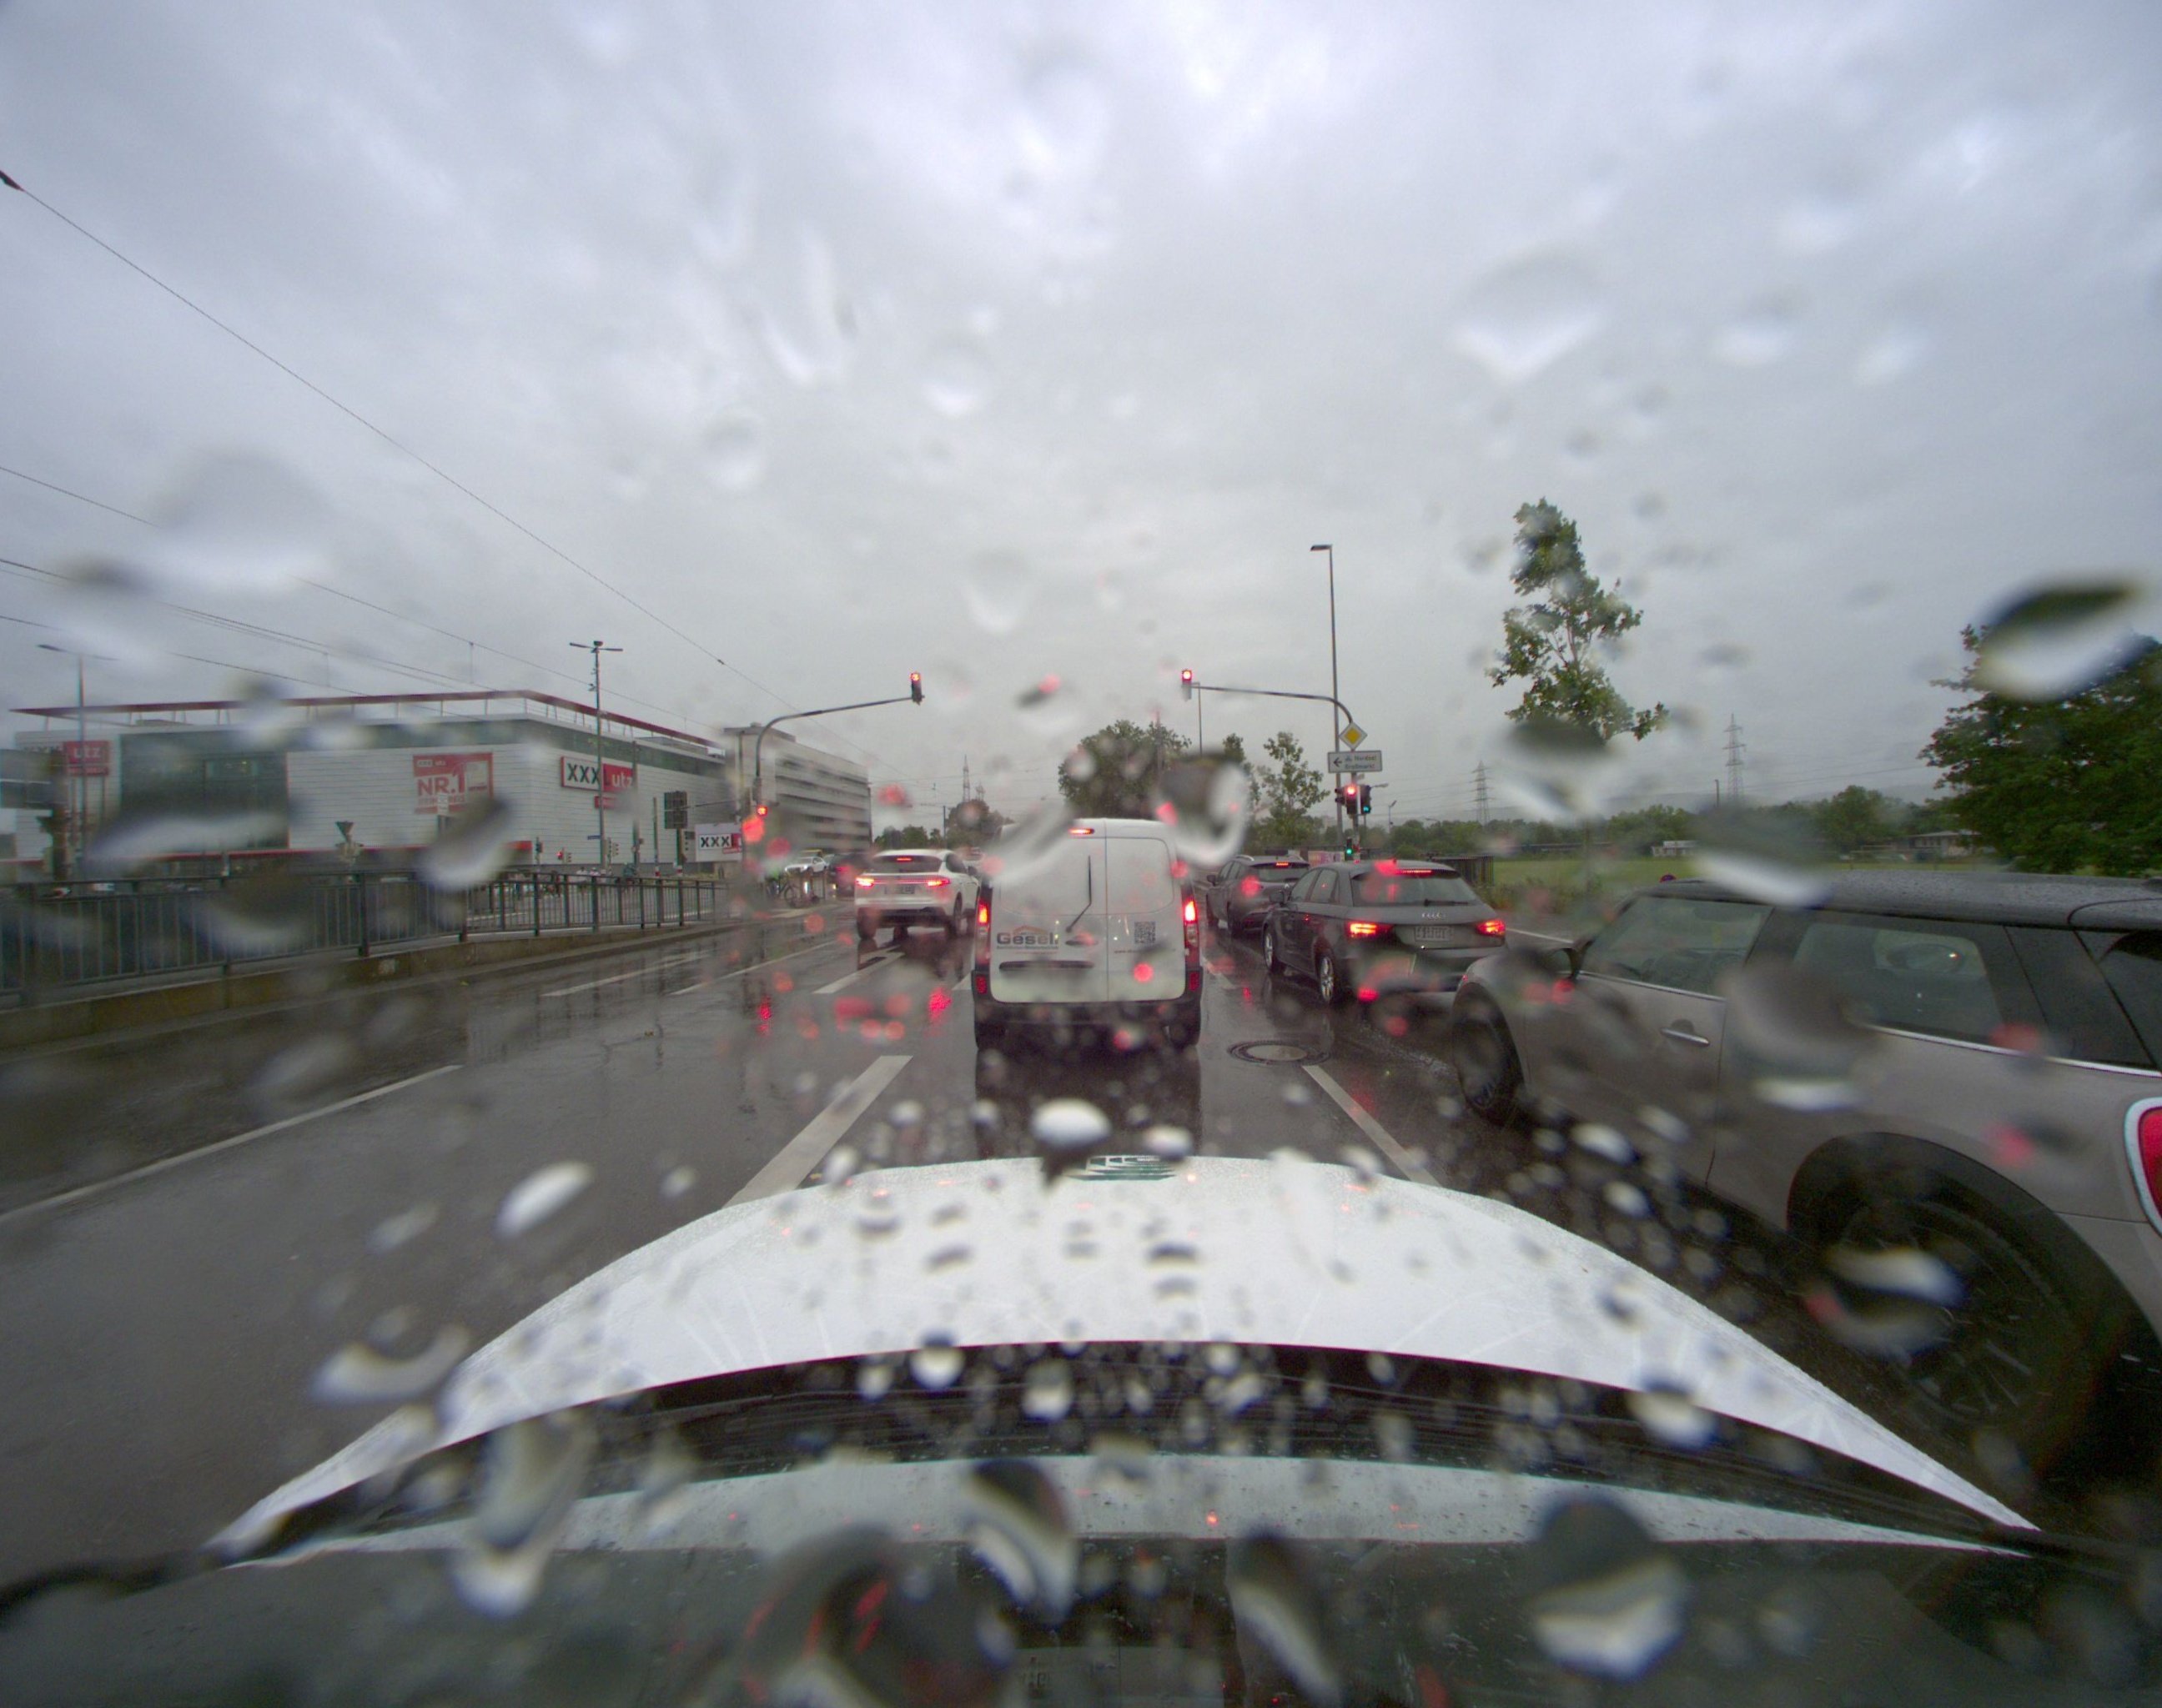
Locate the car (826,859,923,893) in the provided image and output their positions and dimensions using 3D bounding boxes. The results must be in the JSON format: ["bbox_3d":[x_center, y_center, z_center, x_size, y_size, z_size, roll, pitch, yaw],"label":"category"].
[{"bbox_3d":[-9.065,0.937,35.804,3.882,1.422,1.494,0,-1,-34],"label":"car"}]

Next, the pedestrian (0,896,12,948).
[{"bbox_3d":[-32.424,2.032,24.048,0.561,1.537,0.872,0,-1,1],"label":"pedestrian"}]

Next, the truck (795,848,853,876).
[{"bbox_3d":[-22.362,0.678,71.339,2.342,2.279,7.637,0,0,2],"label":"truck"}]

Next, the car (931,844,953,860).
[{"bbox_3d":[-17.850,-0.204,104.772,1.985,2.014,4.003,0,-1,3],"label":"car"}]

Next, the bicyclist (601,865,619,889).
[{"bbox_3d":[-28.682,1.407,49.621,0.681,1.464,0.647,0,-1,3],"label":"bicyclist"}]

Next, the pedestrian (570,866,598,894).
[{"bbox_3d":[-29.523,1.522,48.381,1.013,1.632,1.092,-1,-1,38],"label":"pedestrian"}]

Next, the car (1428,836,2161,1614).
[{"bbox_3d":[2.966,0.712,3.199,1.707,1.508,3.624,0,0,1],"label":"car"}]

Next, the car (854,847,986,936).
[{"bbox_3d":[-3.060,0.644,16.337,1.723,1.535,4.298,0,0,1],"label":"car"}]

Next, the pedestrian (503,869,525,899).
[{"bbox_3d":[-31.414,1.634,45.130,0.701,1.632,0.918,0,-1,-10],"label":"pedestrian"}]

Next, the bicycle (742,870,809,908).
[{"bbox_3d":[-8.924,1.023,23.797,1.745,1.034,0.414,2,-1,0],"label":"bicycle"}]

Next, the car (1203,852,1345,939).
[{"bbox_3d":[3.520,0.696,15.556,1.853,1.428,3.808,0,0,1],"label":"car"}]

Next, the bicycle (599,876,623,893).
[{"bbox_3d":[-28.676,1.870,49.686,0.448,0.987,1.709,0,-1,2],"label":"bicycle"}]

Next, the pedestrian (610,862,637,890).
[{"bbox_3d":[-26.631,1.273,47.432,0.912,1.632,1.015,-1,-1,12],"label":"pedestrian"}]

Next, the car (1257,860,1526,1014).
[{"bbox_3d":[3.117,0.741,8.968,1.623,1.344,3.624,0,0,1],"label":"car"}]

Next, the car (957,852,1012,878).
[{"bbox_3d":[-5.775,0.662,49.210,1.600,1.503,3.736,-1,-1,24],"label":"car"}]

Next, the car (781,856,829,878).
[{"bbox_3d":[-19.515,0.925,57.752,1.689,1.492,3.884,-1,-1,7],"label":"car"}]

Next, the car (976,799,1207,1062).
[{"bbox_3d":[0.136,0.538,7.603,1.560,1.788,4.002,-1,0,2],"label":"car"}]

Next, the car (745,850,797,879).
[{"bbox_3d":[-23.069,0.772,60.698,1.983,2.014,4.007,0,-1,6],"label":"car"}]

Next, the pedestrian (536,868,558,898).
[{"bbox_3d":[-29.847,1.599,45.498,0.701,1.632,0.918,0,-1,-10],"label":"pedestrian"}]

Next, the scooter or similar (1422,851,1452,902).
[{"bbox_3d":[8.485,0.525,19.415,0.244,1.158,1.187,0,-1,3],"label":"scooter or similar"}]
